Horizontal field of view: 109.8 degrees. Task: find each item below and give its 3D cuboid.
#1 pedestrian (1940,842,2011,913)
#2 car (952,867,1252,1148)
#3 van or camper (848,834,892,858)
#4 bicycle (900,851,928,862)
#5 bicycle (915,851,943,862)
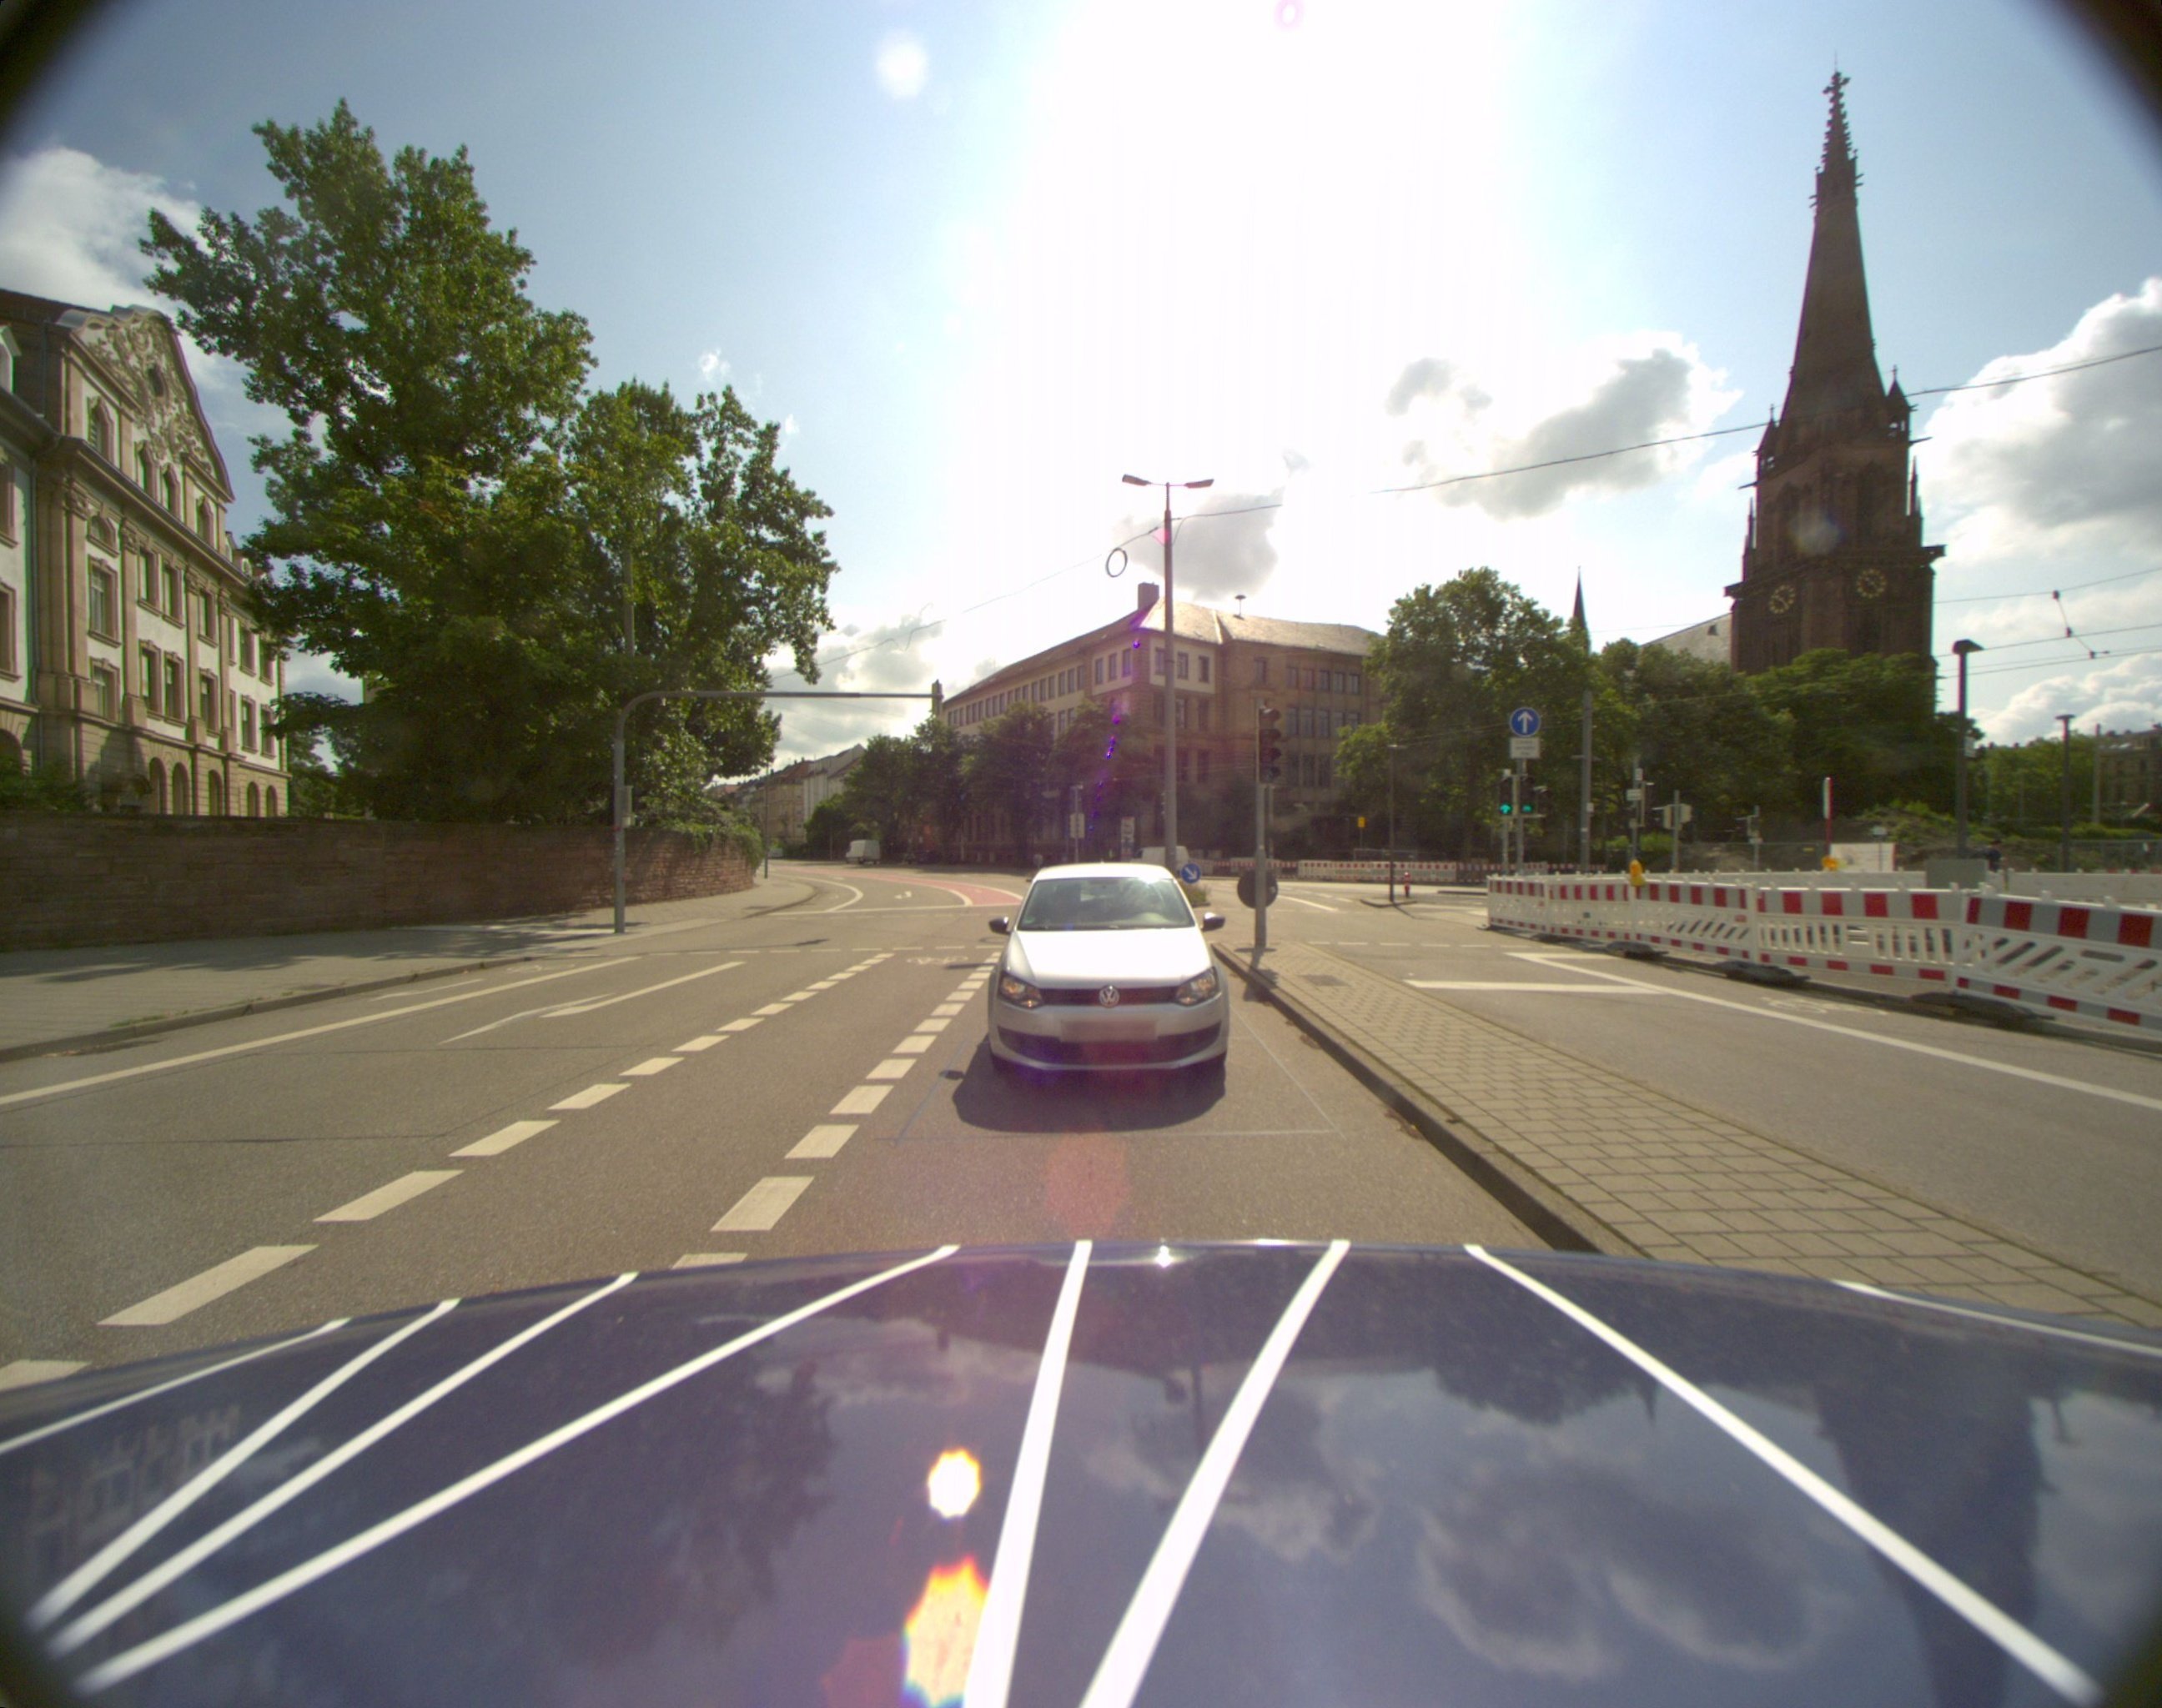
[{"bbox_3d":[22.152,0.569,18.818,1.209,1.696,0.840,0,1,-26],"label":"pedestrian"},{"bbox_3d":[0.149,0.910,6.330,1.655,1.433,4.004,-2,1,1],"label":"car"},{"bbox_3d":[-23.963,-0.857,86.130,2.981,2.587,6.740,0,1,-33],"label":"van or camper"},{"bbox_3d":[-19.180,0.297,87.136,2.891,1.200,1.073,0,4,9],"label":"bicycle"},{"bbox_3d":[-16.970,0.244,84.934,2.891,1.200,1.050,0,4,9],"label":"bicycle"}]
